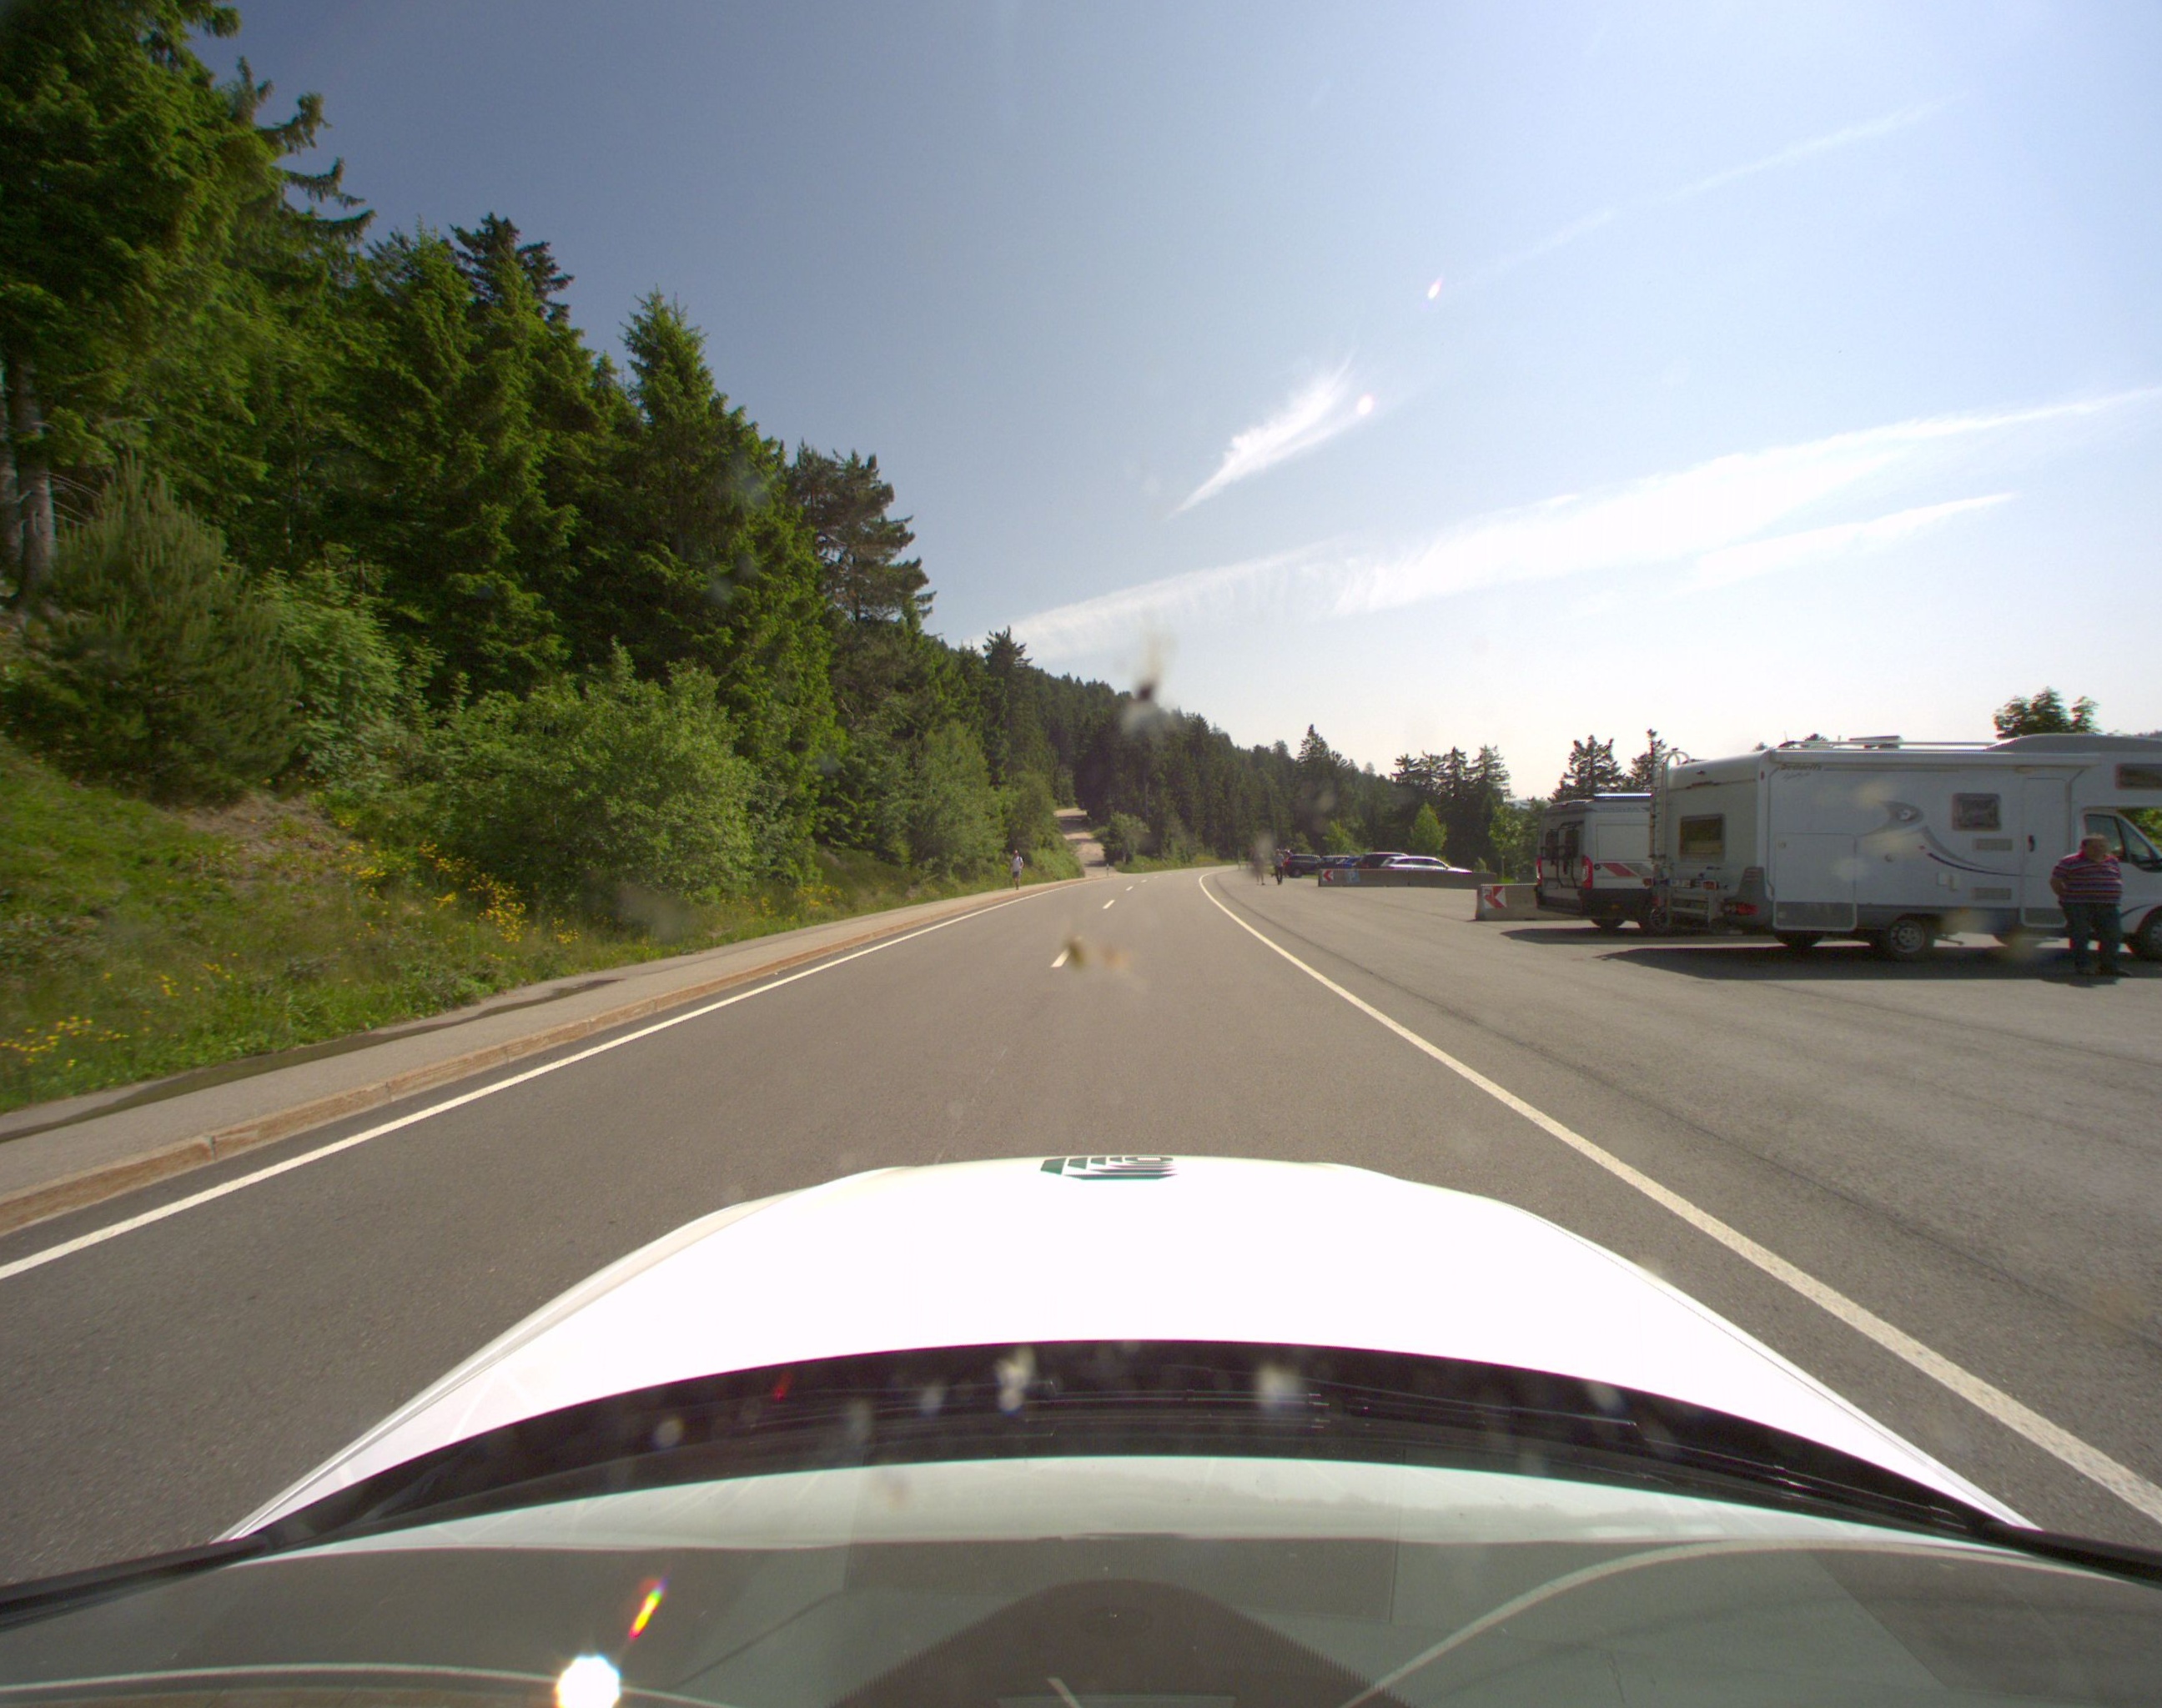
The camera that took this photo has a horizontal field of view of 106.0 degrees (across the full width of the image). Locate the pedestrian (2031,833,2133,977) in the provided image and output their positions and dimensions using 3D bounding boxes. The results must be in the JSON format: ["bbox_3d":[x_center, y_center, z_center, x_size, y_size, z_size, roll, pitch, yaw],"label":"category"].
[{"bbox_3d":[11.935,0.578,9.729,0.639,1.640,0.636,-1,0,41],"label":"pedestrian"}]

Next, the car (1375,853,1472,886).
[{"bbox_3d":[16.624,0.736,39.689,3.970,1.476,1.775,1,0,3],"label":"car"}]

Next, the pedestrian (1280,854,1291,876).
[{"bbox_3d":[15.274,0.831,60.677,0.611,1.587,0.740,-2,1,25],"label":"pedestrian"}]

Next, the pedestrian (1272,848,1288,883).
[{"bbox_3d":[10.005,0.566,40.861,0.659,1.741,0.899,-1,0,19],"label":"pedestrian"}]

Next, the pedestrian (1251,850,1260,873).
[{"bbox_3d":[13.111,0.561,61.209,0.612,1.775,0.726,-1,-1,13],"label":"pedestrian"}]

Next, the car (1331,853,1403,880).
[{"bbox_3d":[18.102,0.767,51.644,3.971,1.535,1.808,0,3,2],"label":"car"}]

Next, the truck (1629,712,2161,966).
[{"bbox_3d":[11.929,-0.174,11.884,6.035,3.196,2.535,-1,0,4],"label":"truck"}]

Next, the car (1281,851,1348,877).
[{"bbox_3d":[16.616,0.735,58.110,4.246,1.794,1.893,0,-2,3],"label":"car"}]

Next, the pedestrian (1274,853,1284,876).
[{"bbox_3d":[15.015,0.798,61.770,0.647,1.660,0.691,-2,1,19],"label":"pedestrian"}]

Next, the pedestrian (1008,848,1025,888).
[{"bbox_3d":[-2.859,0.636,36.132,0.680,1.746,0.825,-1,0,2],"label":"pedestrian"}]

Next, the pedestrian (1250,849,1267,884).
[{"bbox_3d":[8.989,0.634,41.239,0.747,1.760,0.779,-1,0,19],"label":"pedestrian"}]

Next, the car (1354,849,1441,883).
[{"bbox_3d":[16.578,0.637,42.807,3.971,1.647,1.601,1,0,2],"label":"car"}]

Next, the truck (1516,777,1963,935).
[{"bbox_3d":[11.922,0.059,15.234,6.230,2.590,2.344,-1,0,5],"label":"truck"}]

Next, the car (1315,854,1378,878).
[{"bbox_3d":[17.879,0.820,54.928,3.739,1.567,1.600,0,0,0],"label":"car"}]
